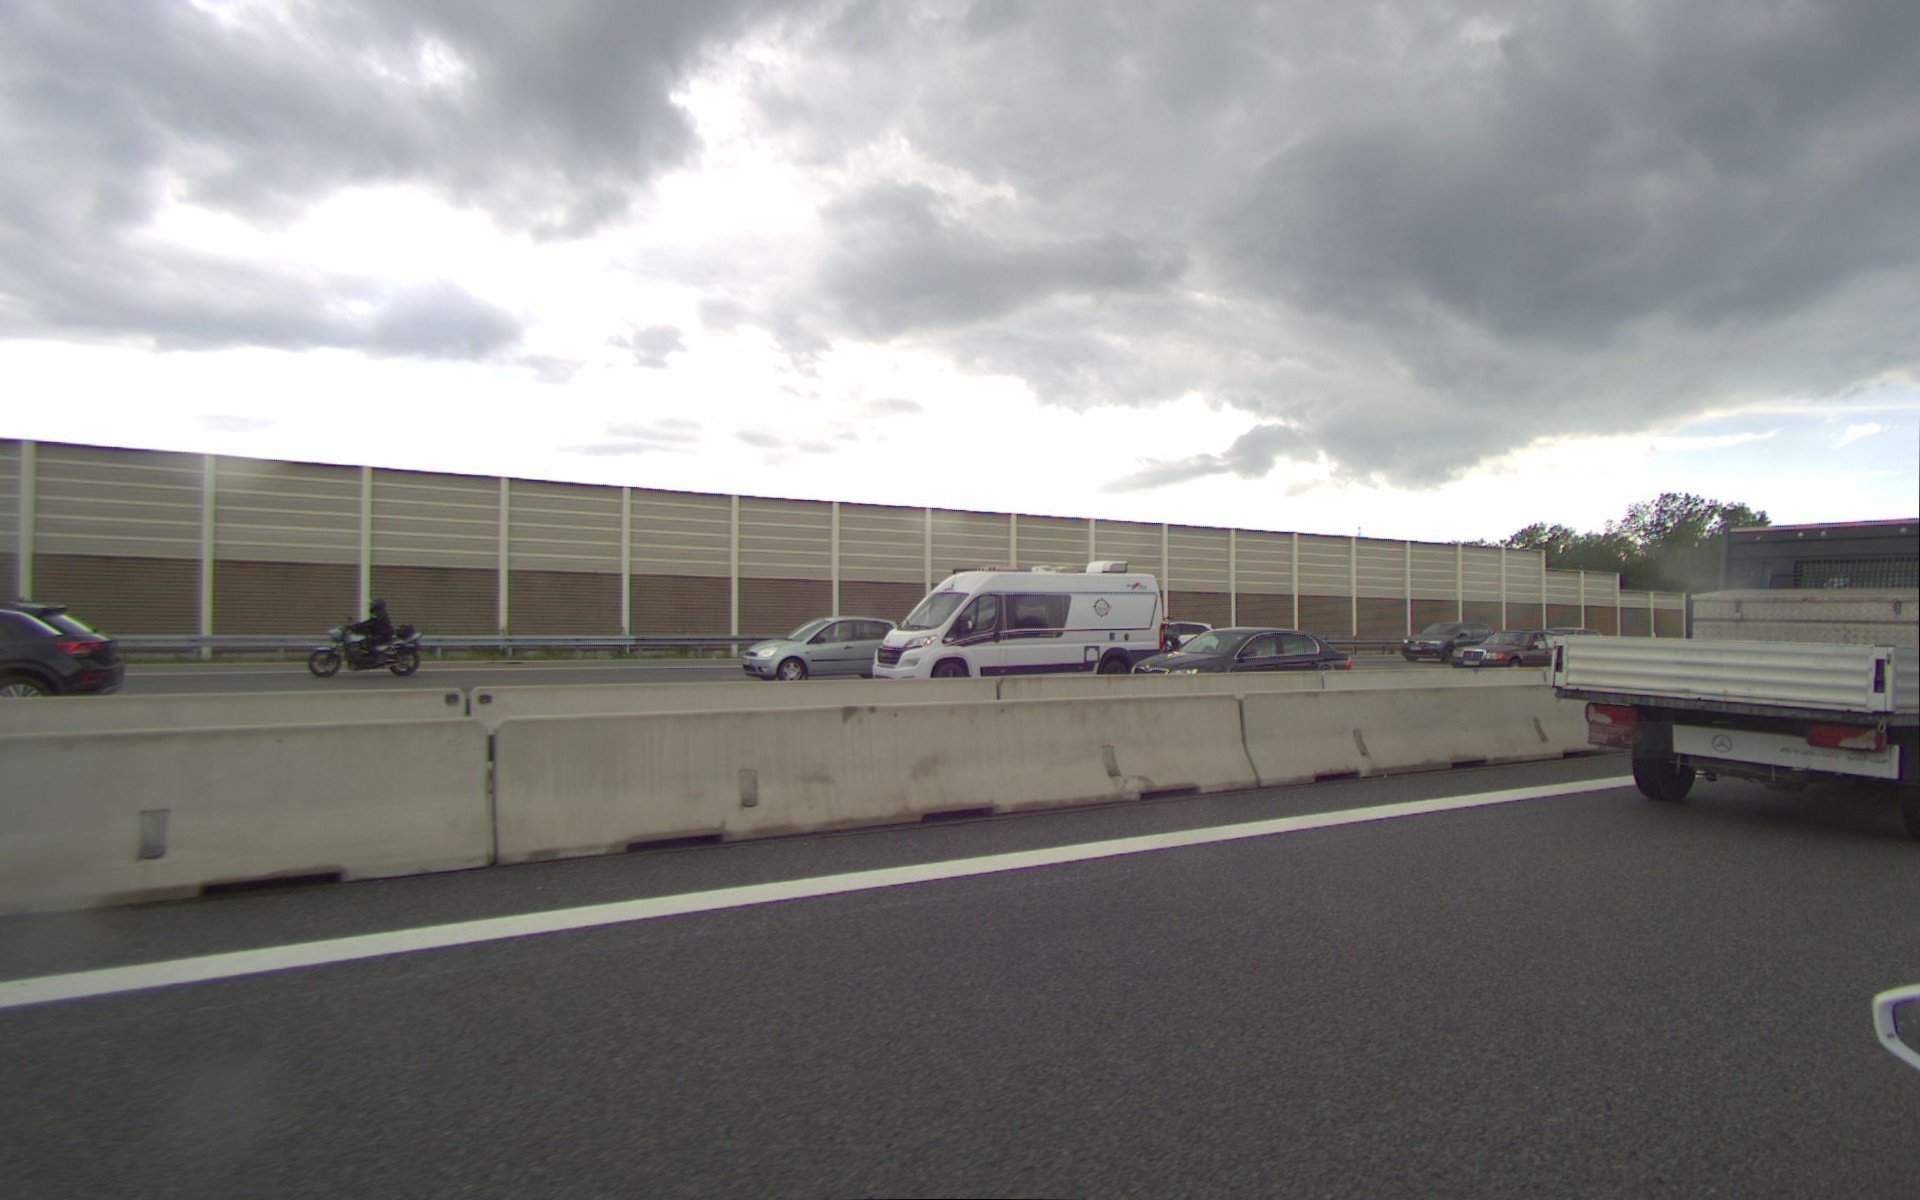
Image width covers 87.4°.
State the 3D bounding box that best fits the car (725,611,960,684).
[{"bbox_3d":[-2.652,1.061,22.985,4.937,1.511,2.051,2,-1,-29],"label":"car"}]

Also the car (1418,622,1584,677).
[{"bbox_3d":[16.207,1.455,30.028,4.937,1.511,2.051,2,-1,-29],"label":"car"}]

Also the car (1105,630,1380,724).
[{"bbox_3d":[5.309,1.365,18.741,4.937,1.511,2.051,2,-1,-29],"label":"car"}]

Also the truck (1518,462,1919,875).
[{"bbox_3d":[8.044,0.465,8.867,7.067,2.472,2.295,1,0,-32],"label":"truck"}]

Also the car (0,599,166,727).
[{"bbox_3d":[-12.984,0.721,12.174,4.937,1.511,2.051,2,-1,-29],"label":"car"}]

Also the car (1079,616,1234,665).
[{"bbox_3d":[6.571,1.339,33.482,4.937,1.511,2.051,2,-1,-29],"label":"car"}]

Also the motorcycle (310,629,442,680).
[{"bbox_3d":[-12.438,1.143,21.476,2.402,1.021,0.515,1,0,-30],"label":"motorcycle"}]

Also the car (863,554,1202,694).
[{"bbox_3d":[1.654,0.530,21.288,7.000,2.584,2.373,2,-1,-29],"label":"car"}]

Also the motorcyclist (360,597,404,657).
[{"bbox_3d":[-12.344,0.575,21.480,0.787,1.240,0.634,1,1,-30],"label":"motorcyclist"}]

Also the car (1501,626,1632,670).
[{"bbox_3d":[22.770,1.798,37.687,4.937,1.511,2.051,2,-1,-29],"label":"car"}]

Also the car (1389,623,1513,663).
[{"bbox_3d":[19.885,1.740,40.651,4.937,1.511,2.051,2,-1,-29],"label":"car"}]
